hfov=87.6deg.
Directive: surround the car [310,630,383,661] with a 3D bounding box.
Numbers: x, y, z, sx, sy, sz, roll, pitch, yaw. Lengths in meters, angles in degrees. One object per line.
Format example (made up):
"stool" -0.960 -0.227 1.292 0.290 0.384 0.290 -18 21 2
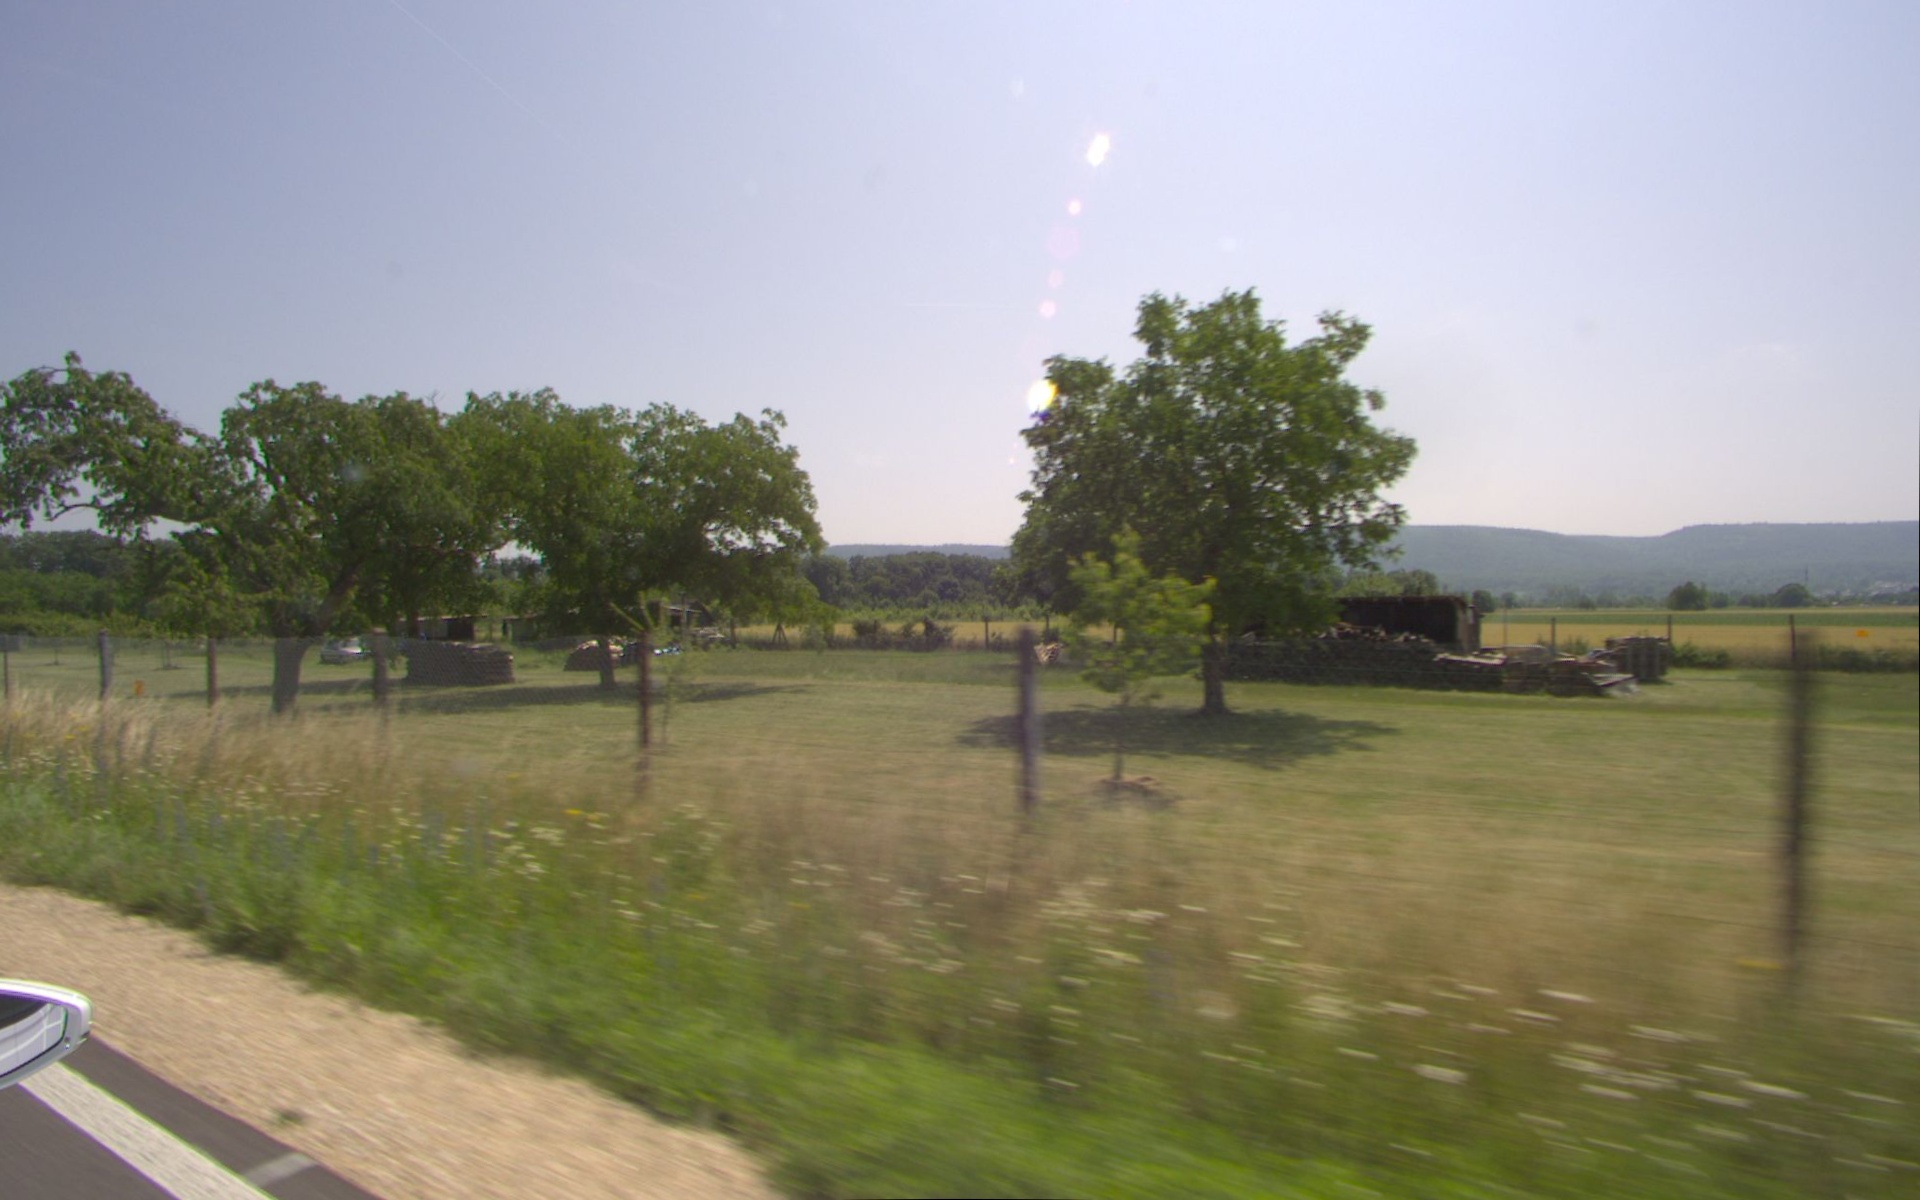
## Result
"car" -31.781 2.348 51.874 3.371 1.505 1.593 0 -1 25
